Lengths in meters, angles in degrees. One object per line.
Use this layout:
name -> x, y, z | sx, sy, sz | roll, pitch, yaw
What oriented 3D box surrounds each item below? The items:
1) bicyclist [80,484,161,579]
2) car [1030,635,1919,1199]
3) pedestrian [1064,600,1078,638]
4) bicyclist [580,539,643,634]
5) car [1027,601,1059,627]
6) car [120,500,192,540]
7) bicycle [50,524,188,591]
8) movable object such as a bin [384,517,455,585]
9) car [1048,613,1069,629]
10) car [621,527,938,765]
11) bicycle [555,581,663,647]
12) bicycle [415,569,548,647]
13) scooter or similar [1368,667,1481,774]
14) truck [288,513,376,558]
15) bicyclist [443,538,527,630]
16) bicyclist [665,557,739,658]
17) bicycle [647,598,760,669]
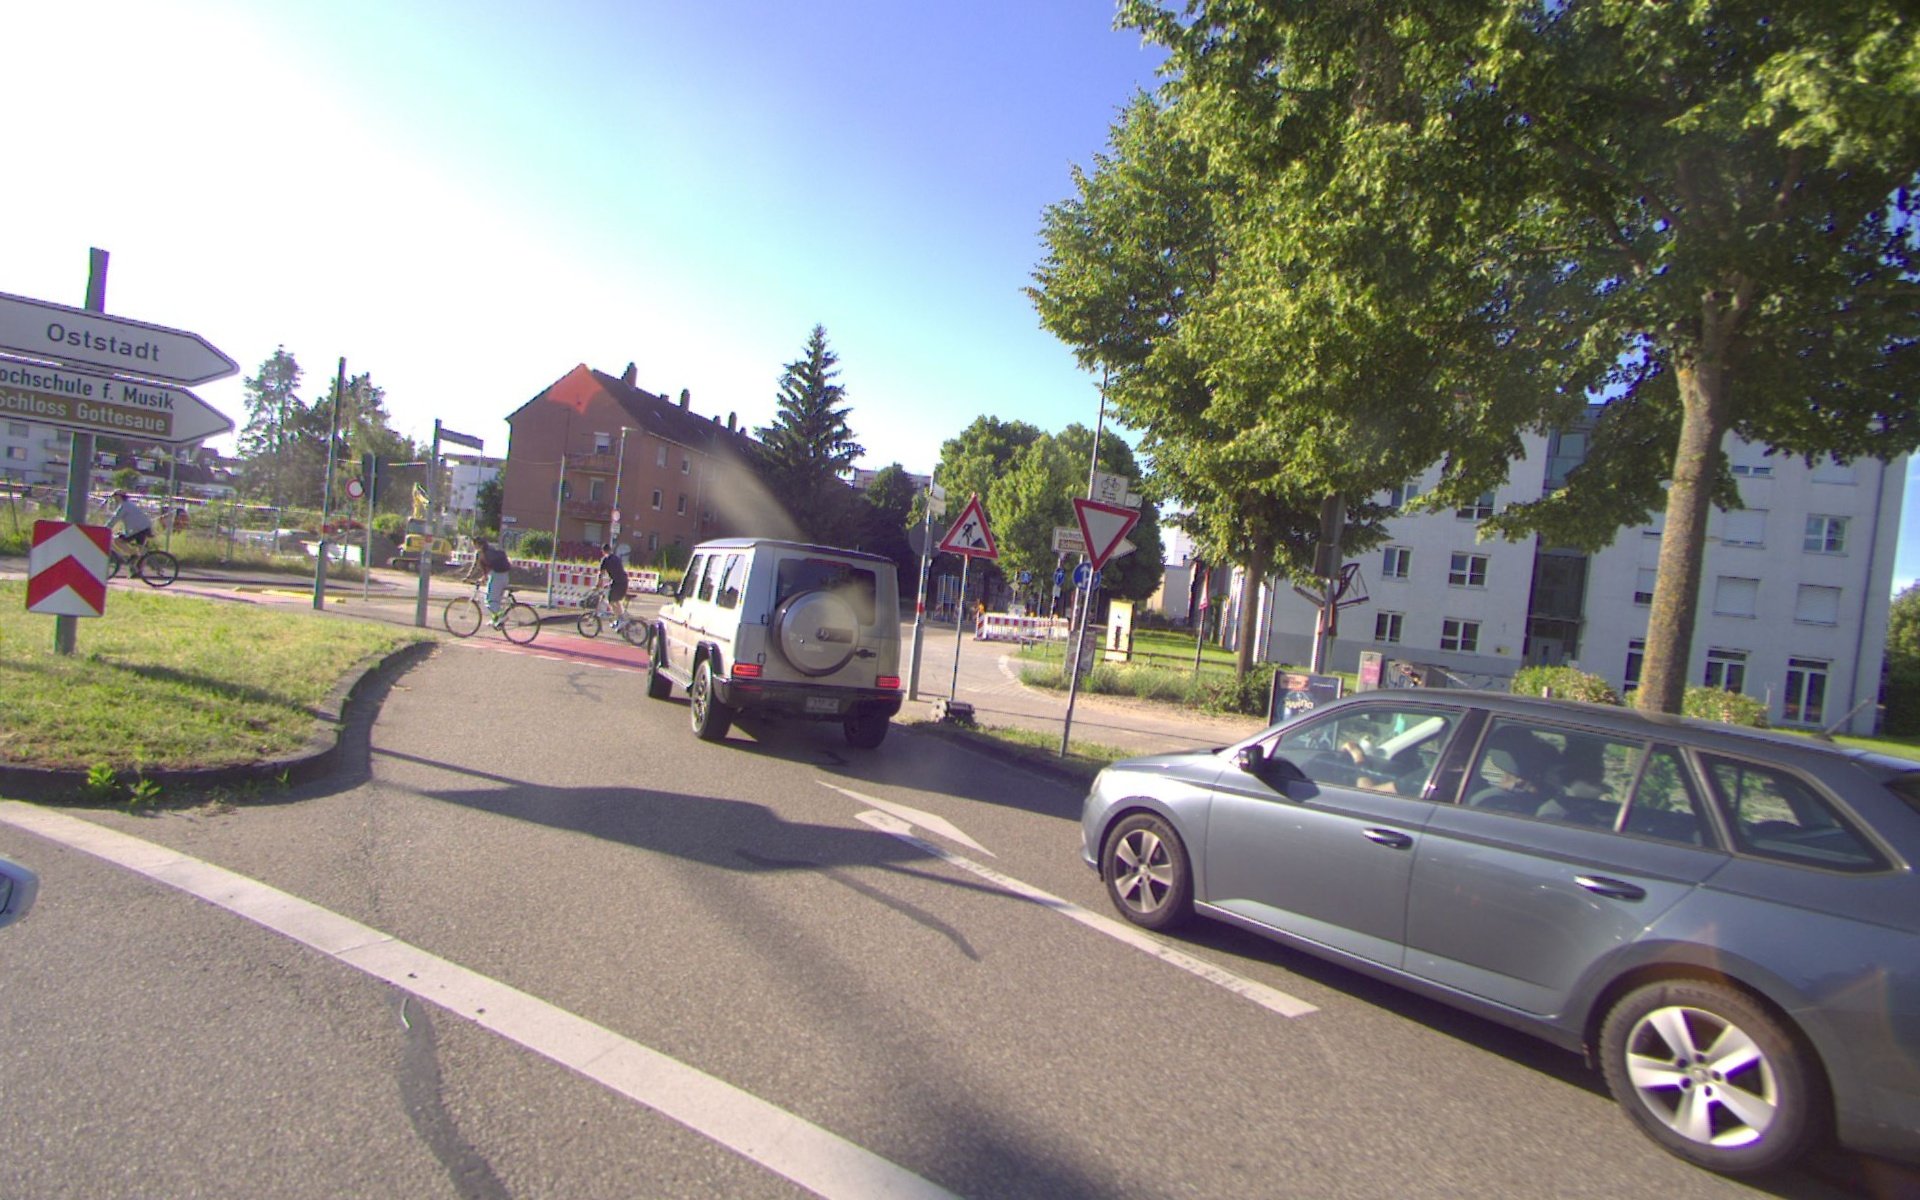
bicyclist -> -16.324, -1.323, 19.584 | 0.838, 1.703, 0.741 | 7, 3, -2
car -> 2.385, 1.143, 4.711 | 1.705, 1.453, 4.109 | 7, 0, -37
pedestrian -> 6.117, 1.024, 55.405 | 0.463, 2.039, 0.454 | 7, 2, 20
bicyclist -> -6.802, -0.245, 19.640 | 0.797, 1.751, 0.655 | 6, 1, 8
car -> 7.400, 1.290, 89.407 | 1.962, 1.893, 4.004 | 8, -1, 14
car -> -54.458, -5.428, 68.151 | 4.420, 2.037, 1.999 | 7, -1, 27
bicycle -> -16.391, -0.827, 19.626 | 1.974, 1.041, 0.741 | 7, 3, -2
movable object such as a bin -> -26.113, -2.362, 48.556 | 2.404, 2.806, 3.965 | 8, -1, -33
car -> 12.399, 2.595, 125.881 | 1.962, 1.721, 4.002 | 6, -1, 13
car -> -2.233, 0.357, 10.969 | 1.979, 1.920, 4.721 | 7, 0, -27
bicycle -> -6.848, 0.288, 19.657 | 1.789, 1.040, 0.661 | 7, 0, 8
bicycle -> -7.955, 0.143, 16.775 | 1.790, 1.040, 0.660 | 8, 0, 1
scooter or similar -> 6.371, 1.635, 13.814 | 1.244, 1.262, 0.443 | 6, -1, 34
truck -> -39.318, -4.054, 62.915 | 6.333, 2.037, 2.167 | 7, -1, 34
bicyclist -> -7.894, -0.253, 16.764 | 0.918, 1.401, 0.660 | 7, 0, 1
bicyclist -> -4.655, 0.140, 18.165 | 0.882, 1.685, 0.660 | 7, 0, 17
bicycle -> -4.632, 0.601, 18.146 | 1.789, 1.040, 0.661 | 7, 0, 18
